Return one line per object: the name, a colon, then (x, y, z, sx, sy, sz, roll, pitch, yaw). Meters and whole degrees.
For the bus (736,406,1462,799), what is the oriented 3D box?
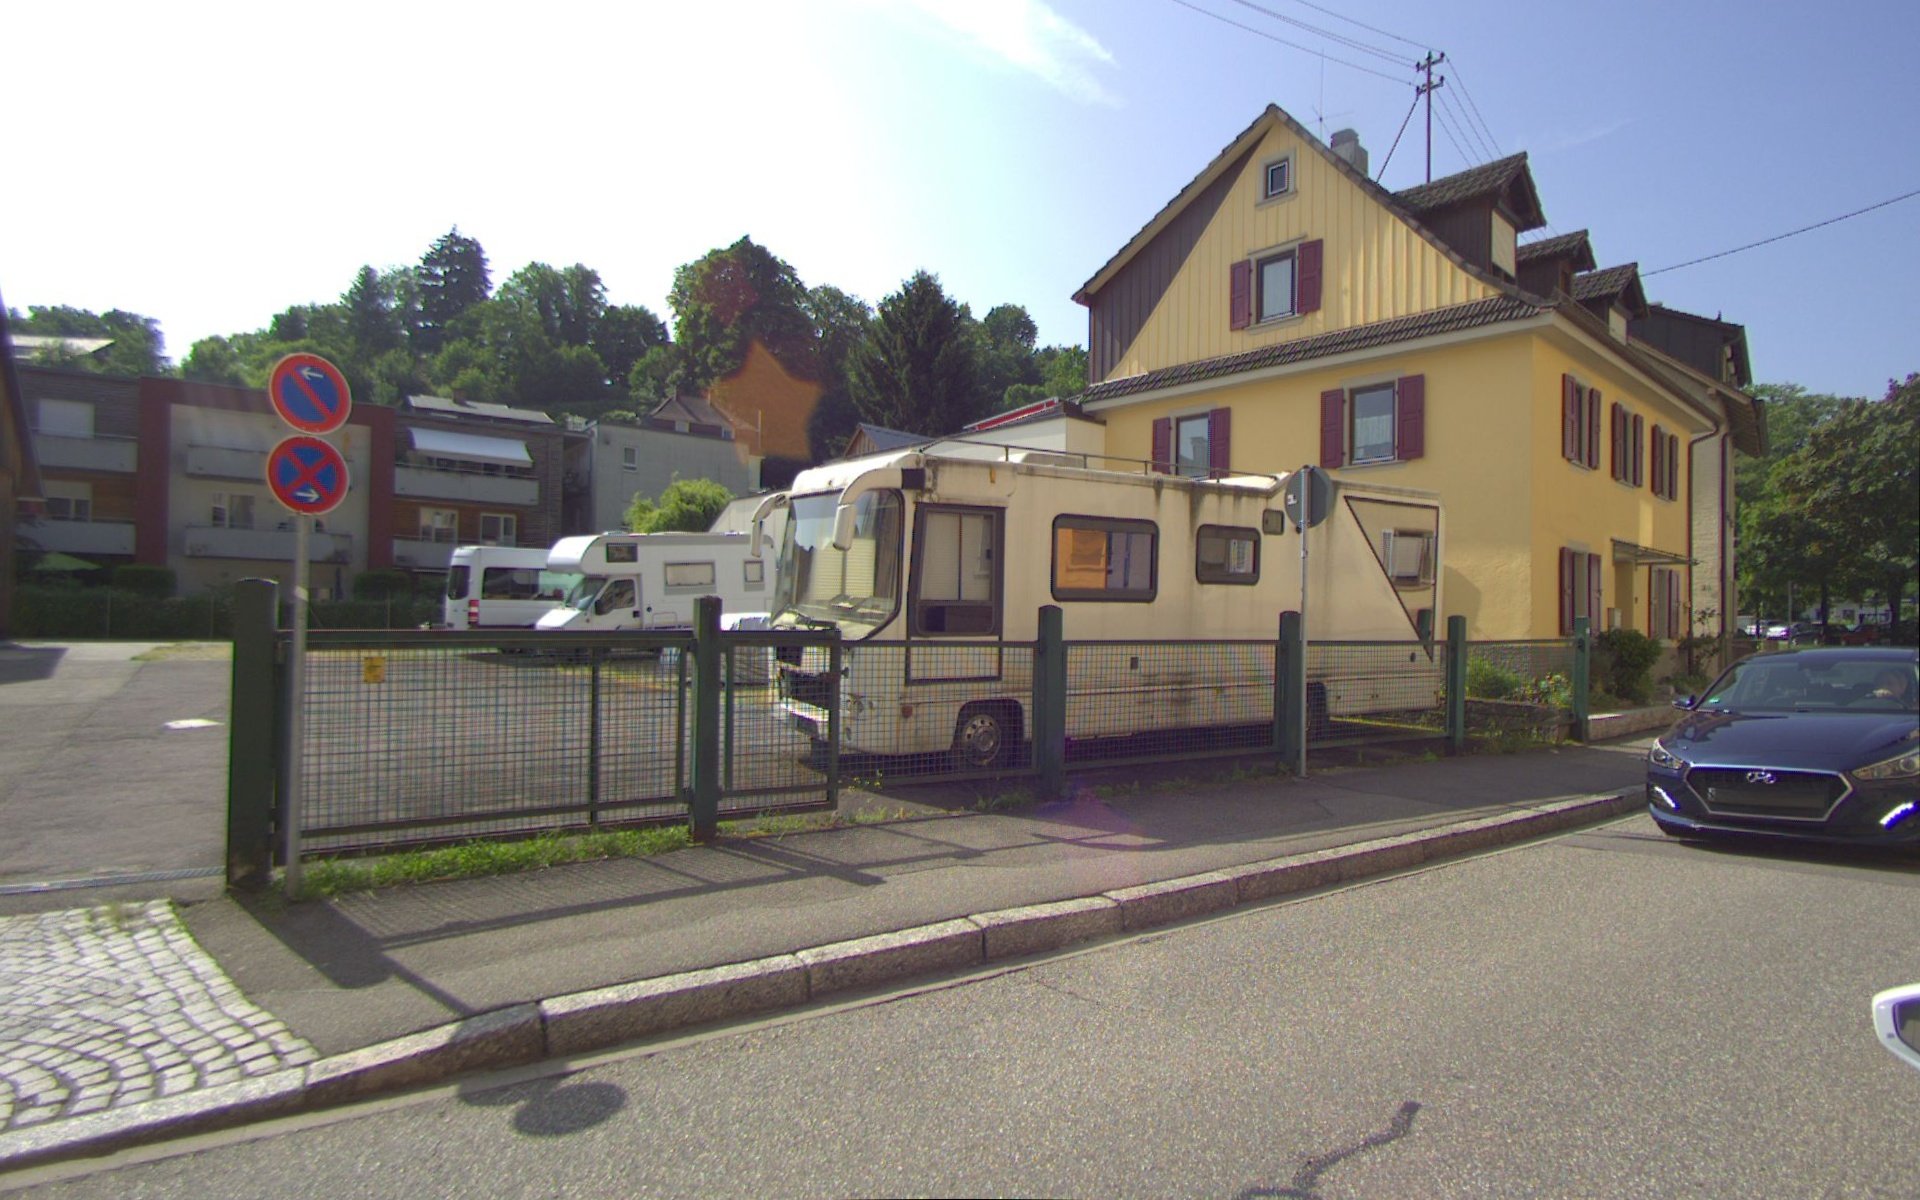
bus: (2.116, 0.099, 11.997, 8.939, 3.271, 2.804, 1, 0, -33)

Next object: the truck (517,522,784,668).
truck: (-7.322, -0.103, 24.197, 5.697, 3.100, 2.384, 0, 1, -42)

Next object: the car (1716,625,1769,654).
car: (45.498, 2.277, 58.459, 1.798, 1.557, 3.993, -4, -4, 30)

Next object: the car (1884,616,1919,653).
car: (50.729, 1.805, 52.782, 1.792, 1.815, 4.000, -1, -1, 20)

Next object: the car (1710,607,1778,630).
car: (66.979, 1.577, 85.880, 4.615, 1.879, 1.997, 1, -1, -9)

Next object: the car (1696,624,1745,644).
car: (59.271, 2.619, 78.321, 1.644, 1.487, 3.412, 0, -1, 10)

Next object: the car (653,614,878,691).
car: (-3.692, 0.940, 19.328, 3.957, 1.286, 1.584, 0, 1, -33)

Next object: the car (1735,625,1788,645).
car: (65.513, 2.868, 82.080, 3.945, 1.572, 1.805, 1, -1, -25)

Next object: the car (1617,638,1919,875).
car: (7.115, 1.078, 8.167, 3.992, 1.471, 1.735, 1, -5, -39)

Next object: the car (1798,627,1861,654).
car: (55.335, 2.557, 64.010, 1.680, 1.563, 4.000, -1, -1, 20)

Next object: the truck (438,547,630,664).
truck: (-10.639, 0.085, 25.211, 4.049, 2.688, 1.934, 0, 2, -42)
